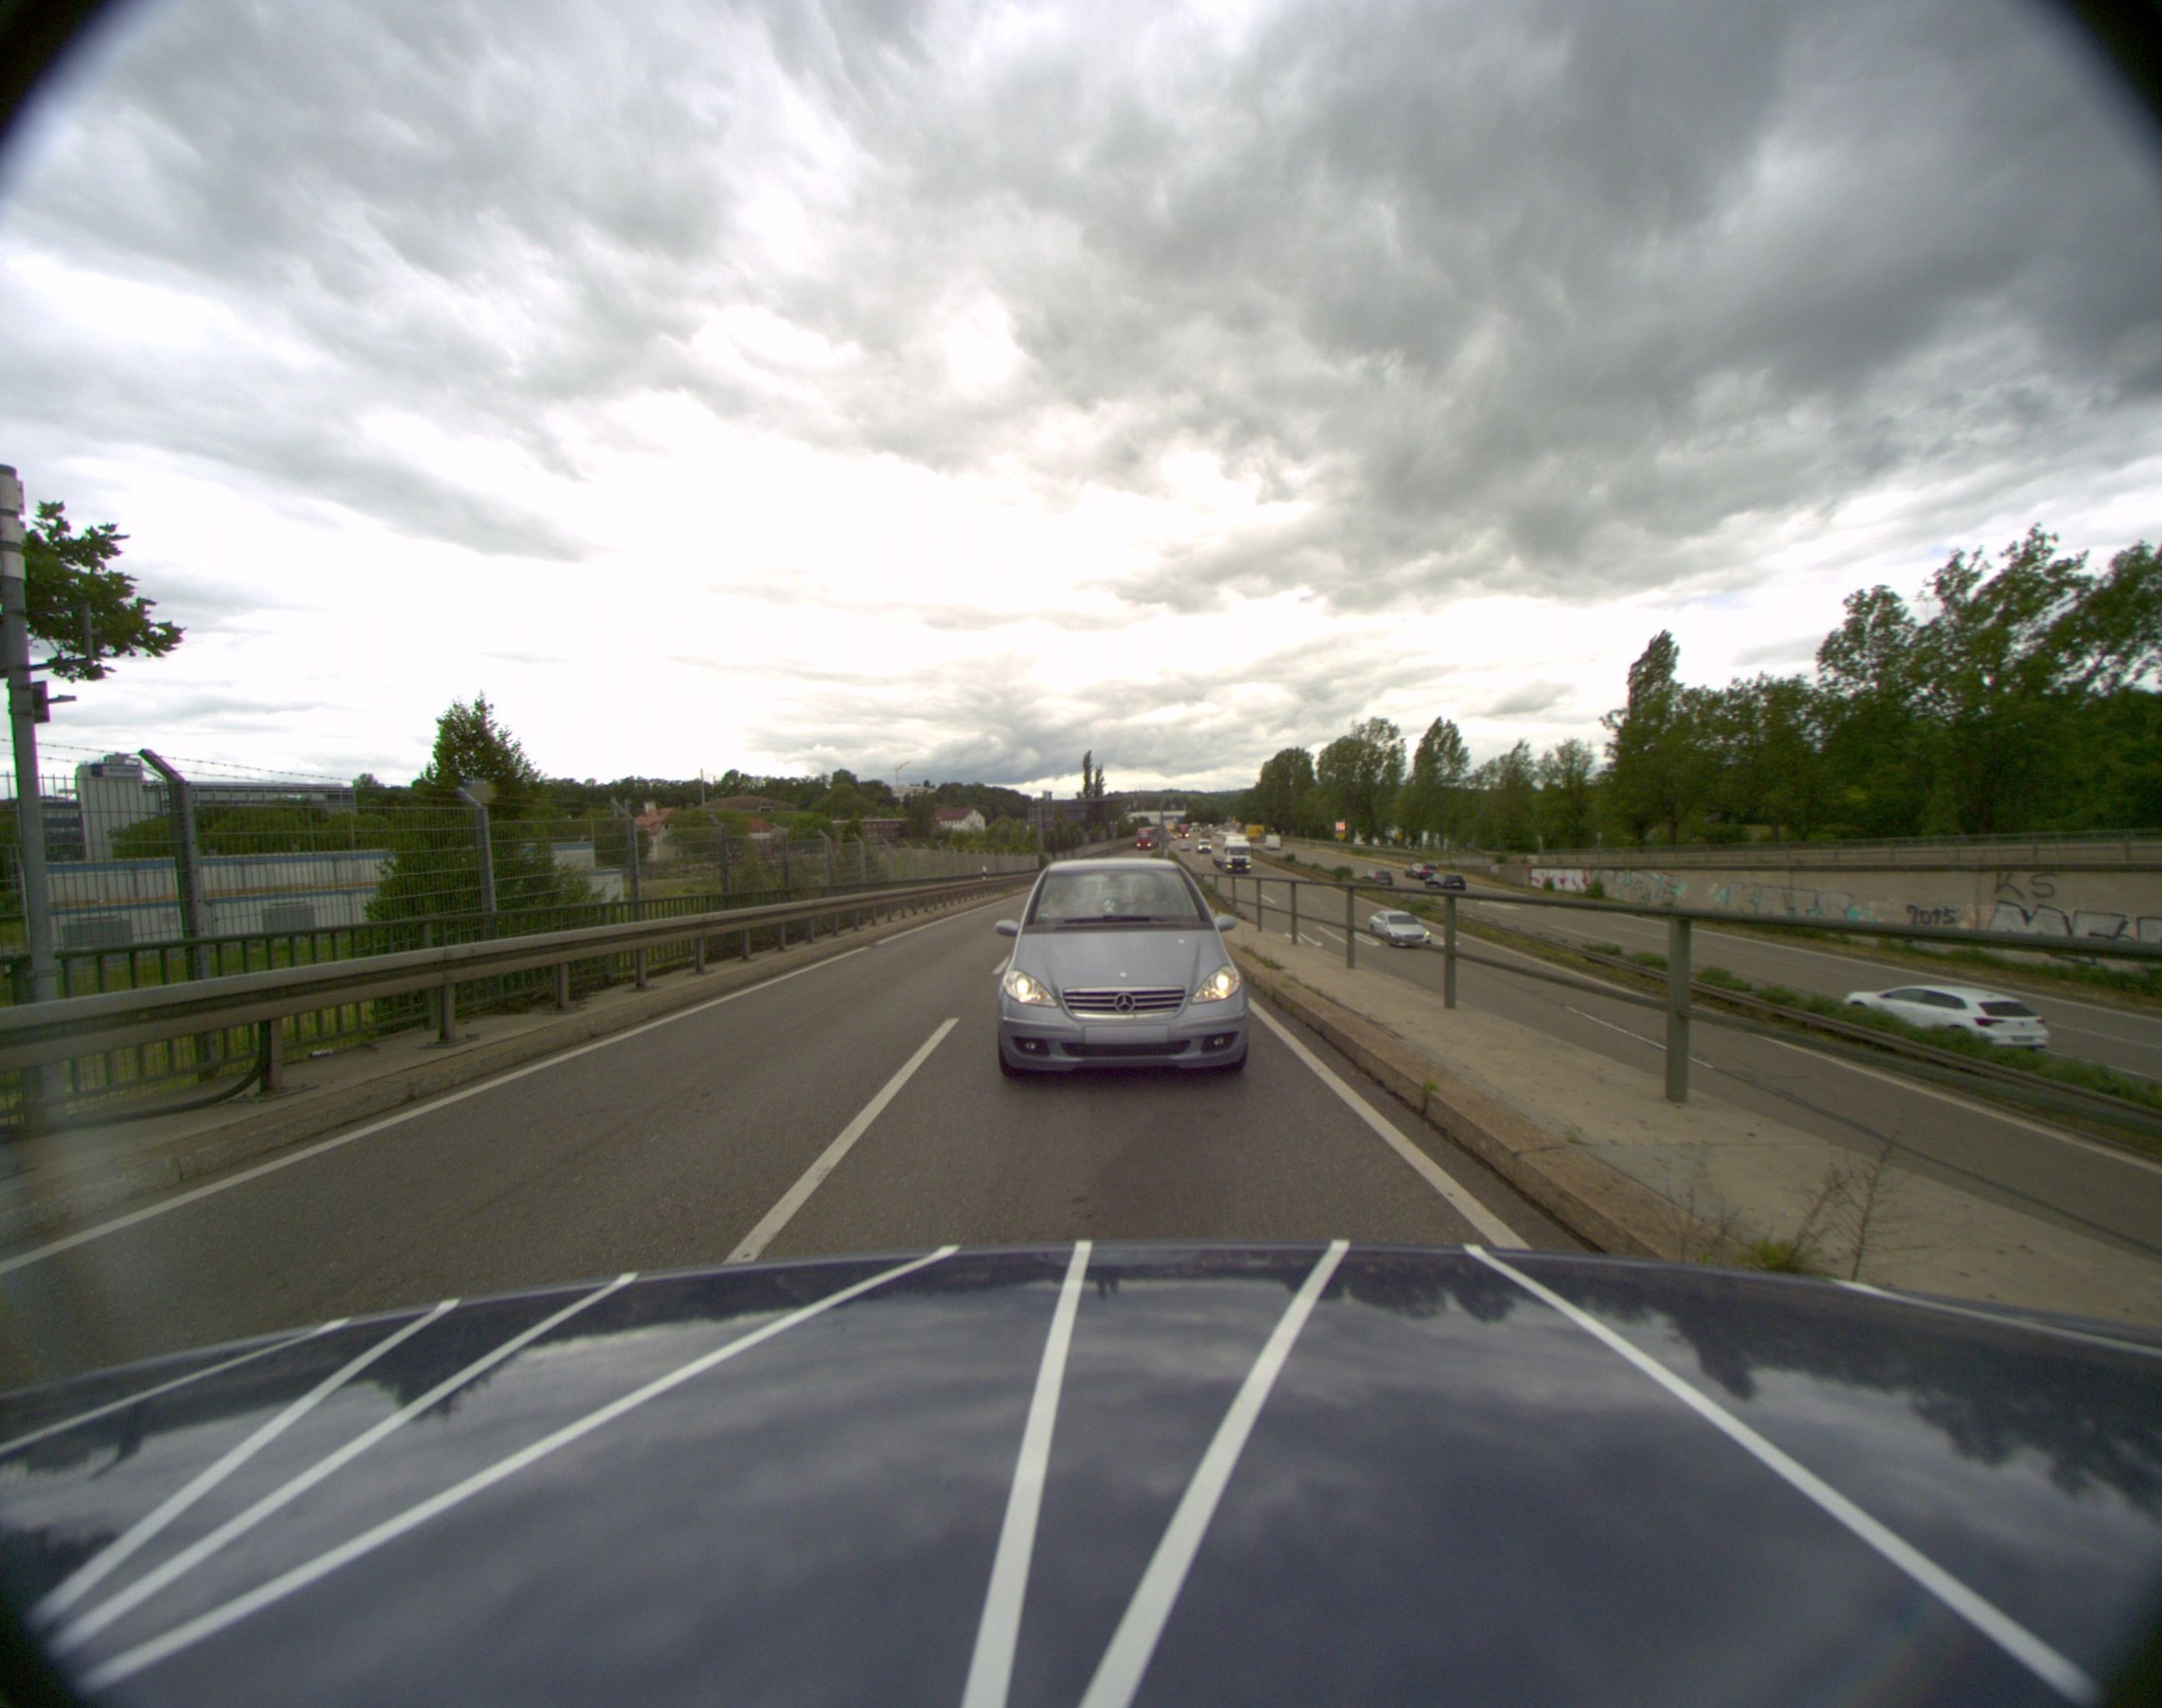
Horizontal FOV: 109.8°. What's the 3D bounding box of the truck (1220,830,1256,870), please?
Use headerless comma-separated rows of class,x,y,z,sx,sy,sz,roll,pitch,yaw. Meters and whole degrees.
truck,17.098,-0.482,83.014,3.010,4.087,5.872,0,3,3

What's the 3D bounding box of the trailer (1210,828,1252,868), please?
trailer,17.491,-0.900,89.623,3.010,4.087,13.984,0,3,3

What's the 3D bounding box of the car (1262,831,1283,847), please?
car,33.715,-2.602,134.069,2.172,2.580,6.099,-1,3,1

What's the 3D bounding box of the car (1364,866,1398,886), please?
car,25.946,1.885,65.806,1.718,1.446,3.649,-1,3,4

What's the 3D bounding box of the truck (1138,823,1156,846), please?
truck,12.455,-3.751,143.427,3.101,3.990,8.487,-1,4,5

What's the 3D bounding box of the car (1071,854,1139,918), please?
car,0.709,0.924,23.129,1.830,1.701,4.001,-2,-1,1

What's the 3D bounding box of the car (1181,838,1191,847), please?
car,18.488,-2.045,134.058,1.512,1.365,3.536,0,3,3

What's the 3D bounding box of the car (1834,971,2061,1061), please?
car,23.704,4.372,21.048,1.779,1.485,3.895,1,3,1

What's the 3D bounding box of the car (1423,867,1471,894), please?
car,28.596,2.028,59.495,1.886,1.709,4.181,0,3,3

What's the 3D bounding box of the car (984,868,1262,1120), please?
car,0.297,0.922,6.794,1.743,1.534,3.993,-1,0,1

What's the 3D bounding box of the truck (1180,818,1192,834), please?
truck,33.018,-8.835,239.383,2.754,4.712,9.916,1,3,4

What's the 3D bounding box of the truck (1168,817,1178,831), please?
truck,27.927,-9.110,231.351,2.415,4.100,8.169,0,3,4

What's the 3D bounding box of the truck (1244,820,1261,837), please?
truck,42.873,-6.404,189.853,3.247,4.159,5.803,0,3,5

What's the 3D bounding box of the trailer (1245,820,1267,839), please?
trailer,42.481,-6.057,184.900,3.247,4.239,13.678,0,3,5

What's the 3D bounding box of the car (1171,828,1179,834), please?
car,25.489,-6.266,205.533,1.810,1.658,3.999,-1,3,4

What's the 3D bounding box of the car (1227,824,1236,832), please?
car,50.518,-8.799,254.688,1.998,2.614,6.711,1,3,3

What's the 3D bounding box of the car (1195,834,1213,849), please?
car,20.369,-2.102,126.022,2.104,2.231,6.498,0,3,3

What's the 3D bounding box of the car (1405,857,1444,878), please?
car,32.610,1.286,72.261,1.864,1.643,4.632,0,3,3

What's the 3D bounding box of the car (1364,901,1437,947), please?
car,15.662,3.386,37.546,1.854,1.562,4.436,-1,4,2
